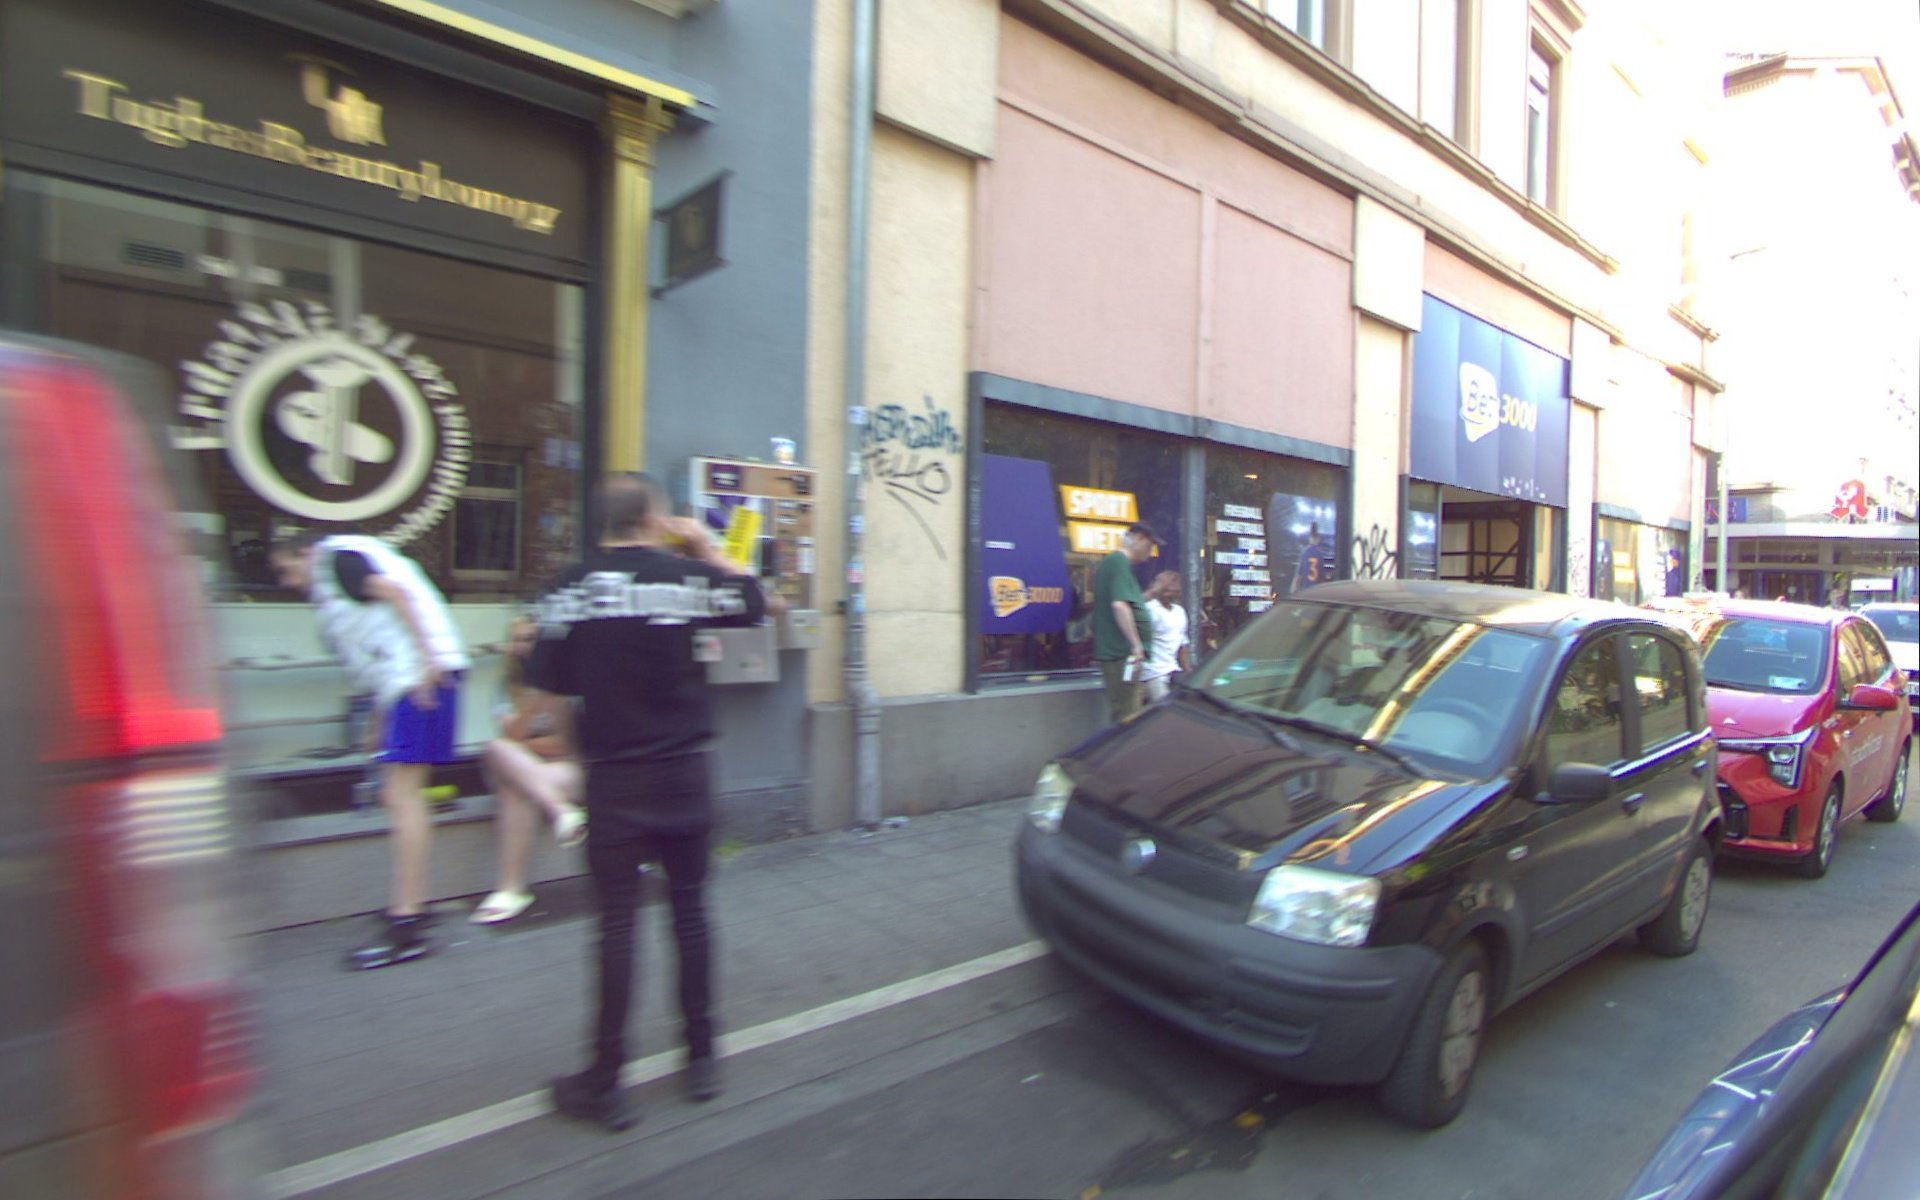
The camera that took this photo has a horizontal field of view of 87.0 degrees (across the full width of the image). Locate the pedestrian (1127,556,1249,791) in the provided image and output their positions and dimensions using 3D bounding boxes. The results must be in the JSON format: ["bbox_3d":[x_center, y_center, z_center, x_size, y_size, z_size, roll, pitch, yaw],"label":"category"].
[{"bbox_3d":[1.605,0.478,7.116,0.587,1.549,0.648,0,0,44],"label":"pedestrian"}]

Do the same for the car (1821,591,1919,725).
[{"bbox_3d":[12.632,0.661,13.103,4.067,1.535,1.789,-1,1,-43],"label":"car"}]

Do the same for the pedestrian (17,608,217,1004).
[{"bbox_3d":[-2.918,0.654,3.533,0.505,1.238,0.439,0,0,-38],"label":"pedestrian"}]

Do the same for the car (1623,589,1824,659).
[{"bbox_3d":[18.476,0.514,24.596,1.757,1.504,3.581,0,2,-40],"label":"car"}]

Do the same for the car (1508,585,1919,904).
[{"bbox_3d":[5.245,0.699,6.816,3.491,1.592,1.609,-1,1,-41],"label":"car"}]

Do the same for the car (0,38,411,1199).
[{"bbox_3d":[-2.682,0.534,0.204,4.240,1.816,1.902,-1,1,-41],"label":"car"}]

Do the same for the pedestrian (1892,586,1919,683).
[{"bbox_3d":[16.823,0.592,17.689,0.555,1.659,0.528,0,0,4],"label":"pedestrian"}]

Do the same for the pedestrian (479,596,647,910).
[{"bbox_3d":[-1.654,0.605,4.273,0.505,1.238,0.532,0,0,0],"label":"pedestrian"}]

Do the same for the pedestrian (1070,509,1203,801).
[{"bbox_3d":[1.148,0.328,6.556,0.627,1.762,0.650,0,0,37],"label":"pedestrian"}]

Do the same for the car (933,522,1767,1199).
[{"bbox_3d":[1.684,0.554,3.991,3.254,1.575,1.575,-1,5,-38],"label":"car"}]

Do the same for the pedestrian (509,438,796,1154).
[{"bbox_3d":[-0.851,0.468,2.816,0.643,1.726,0.442,0,0,-40],"label":"pedestrian"}]

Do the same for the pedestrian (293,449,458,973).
[{"bbox_3d":[-2.175,0.368,3.754,0.420,1.762,0.562,0,0,-42],"label":"pedestrian"}]

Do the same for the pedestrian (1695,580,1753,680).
[{"bbox_3d":[13.226,0.509,17.526,0.455,1.671,0.602,3,0,-9],"label":"pedestrian"}]
